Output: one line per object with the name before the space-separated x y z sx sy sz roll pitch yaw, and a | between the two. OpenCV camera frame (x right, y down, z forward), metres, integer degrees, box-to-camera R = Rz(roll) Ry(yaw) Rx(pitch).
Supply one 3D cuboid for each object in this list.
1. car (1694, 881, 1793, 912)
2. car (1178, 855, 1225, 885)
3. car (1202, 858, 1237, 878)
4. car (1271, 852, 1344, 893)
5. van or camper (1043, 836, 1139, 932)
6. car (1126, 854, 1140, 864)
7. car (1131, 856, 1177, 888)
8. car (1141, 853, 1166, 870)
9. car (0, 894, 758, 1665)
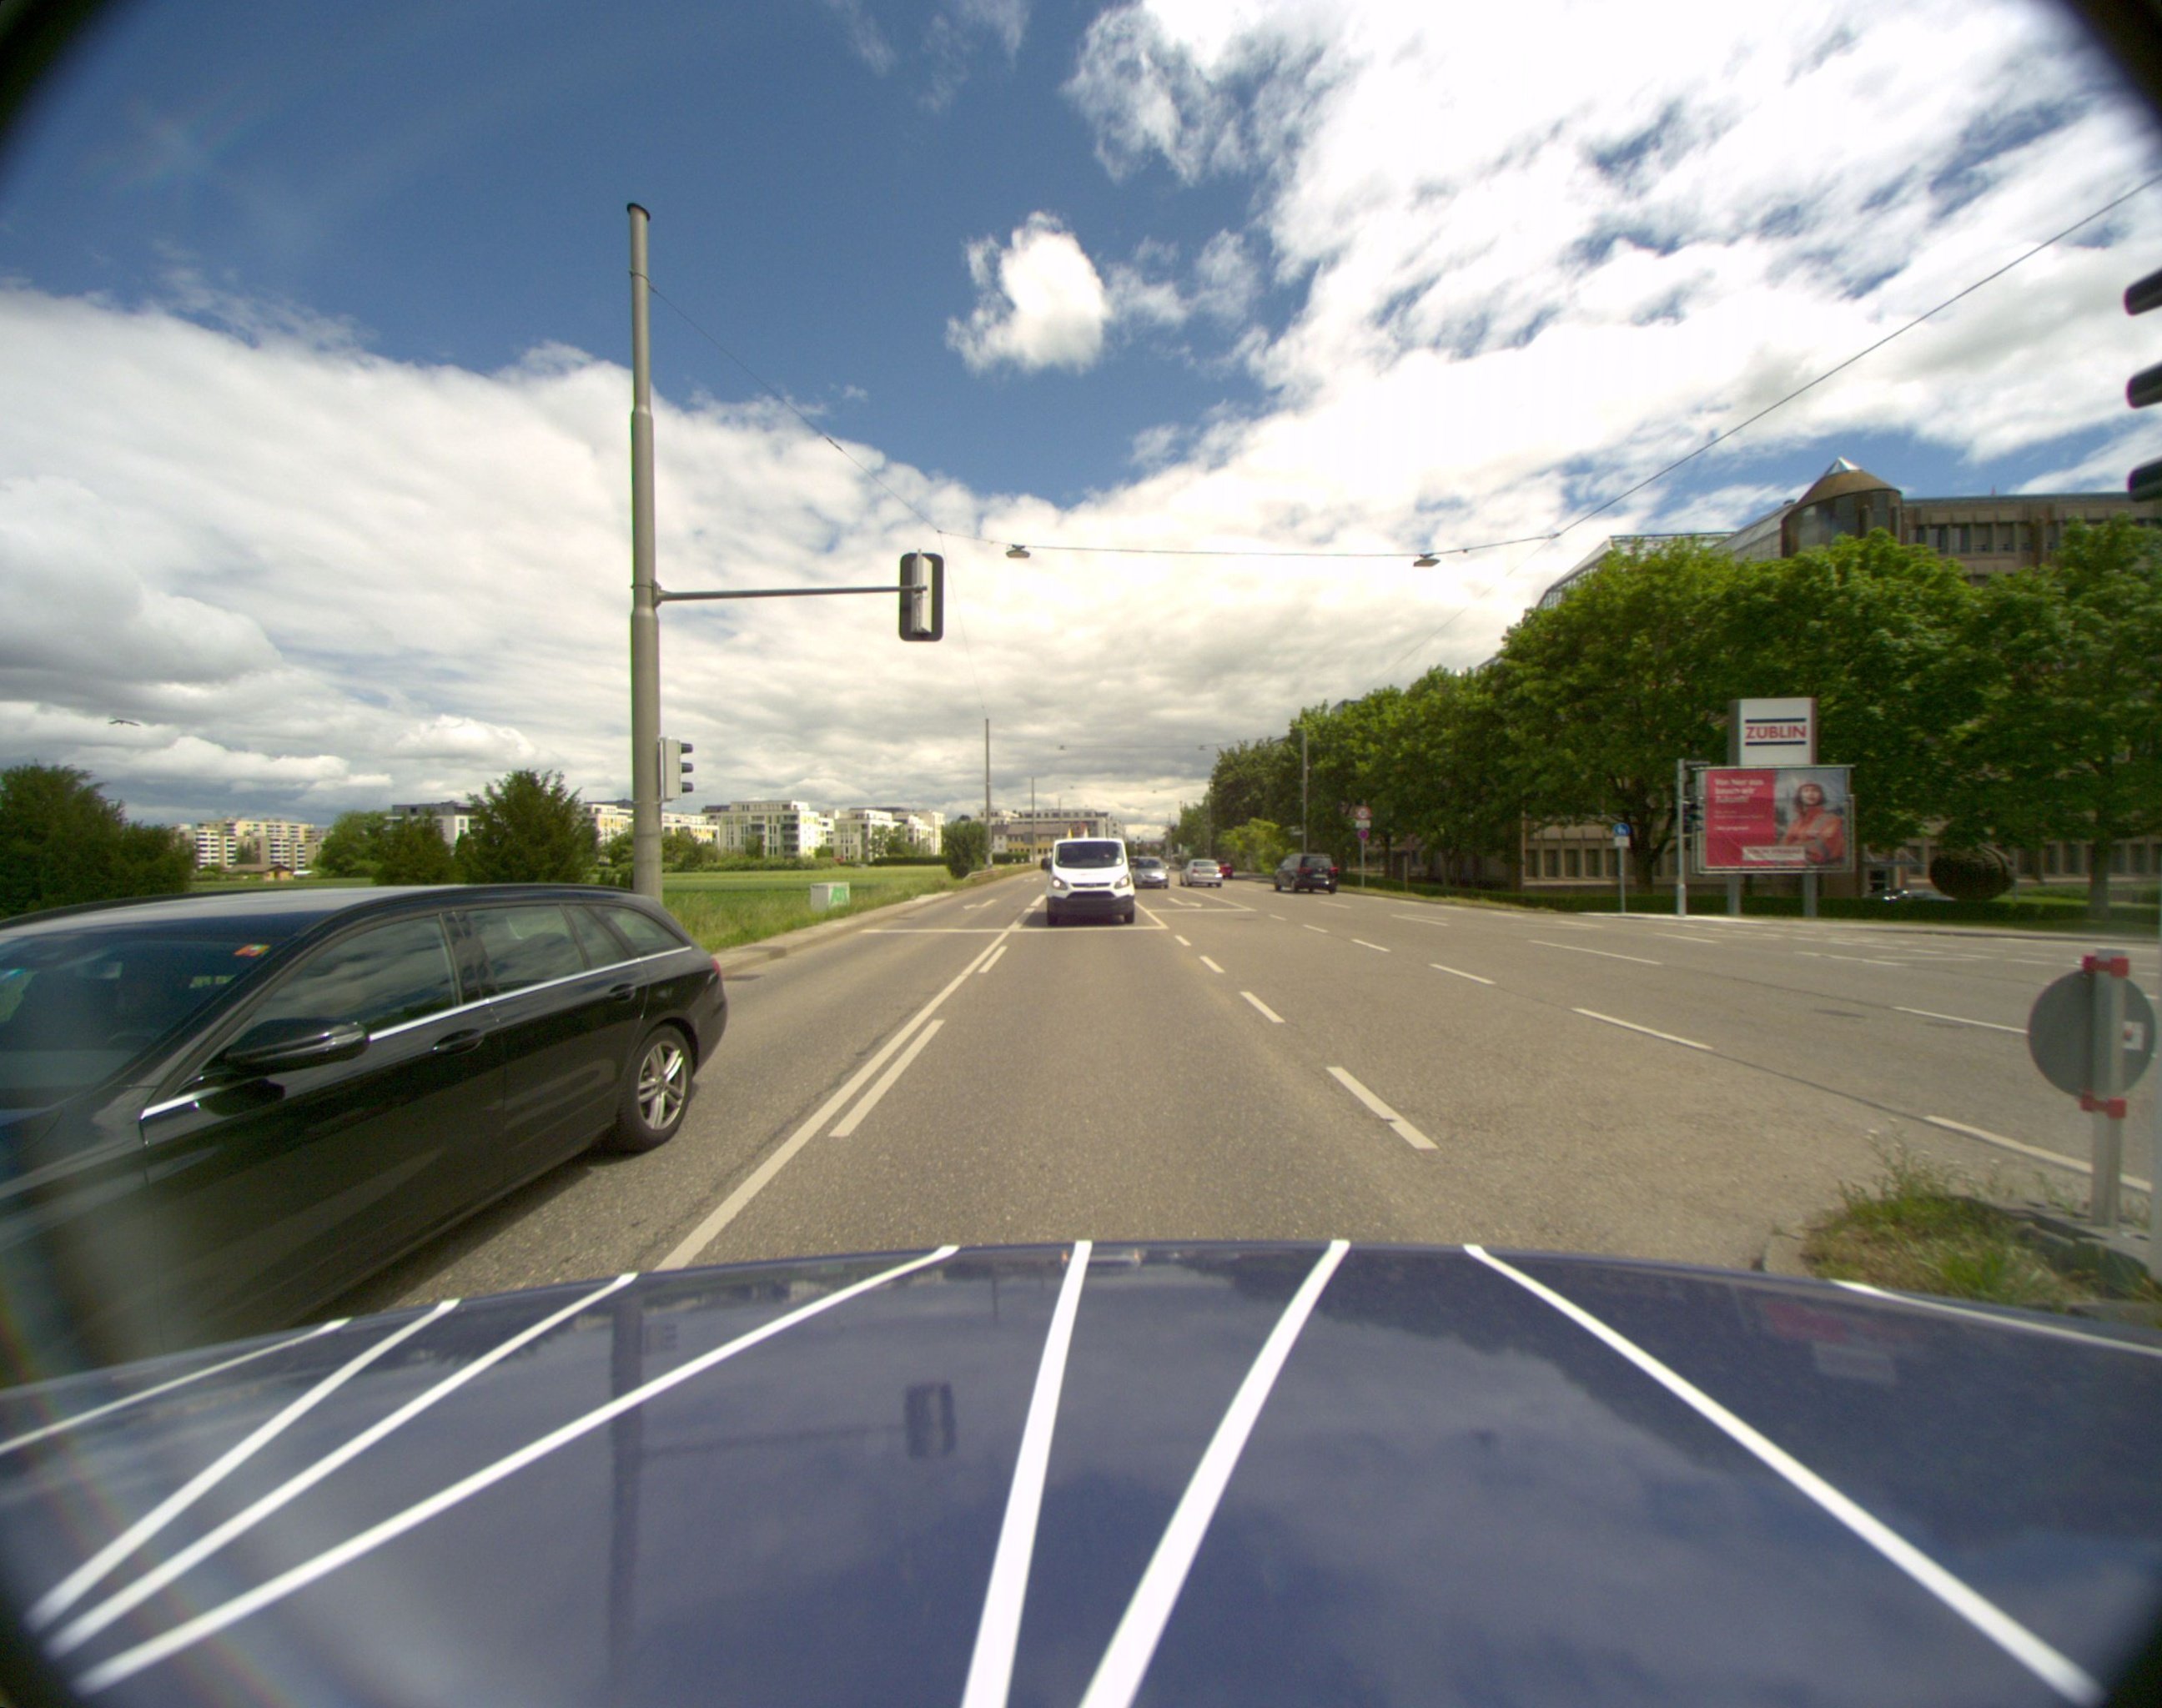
car | 28.984 1.838 33.268 3.174 1.198 1.534 -1 1 -7
car | 6.265 0.820 39.986 1.796 1.439 4.422 -1 0 0
car | 10.149 0.990 55.957 1.784 1.407 3.999 0 0 0
car | 9.999 0.767 33.945 1.998 1.692 4.761 -1 0 3
van or camper | 0.216 0.626 18.955 1.998 2.002 5.799 -1 0 0
car | 7.620 0.730 111.475 1.800 1.445 4.000 1 0 0
car | 3.509 0.834 37.159 1.894 1.433 4.000 -1 0 1
car | 7.029 0.697 74.151 1.998 1.608 4.306 -1 0 0
car | -3.250 1.020 2.812 1.877 1.432 5.199 -1 0 0
